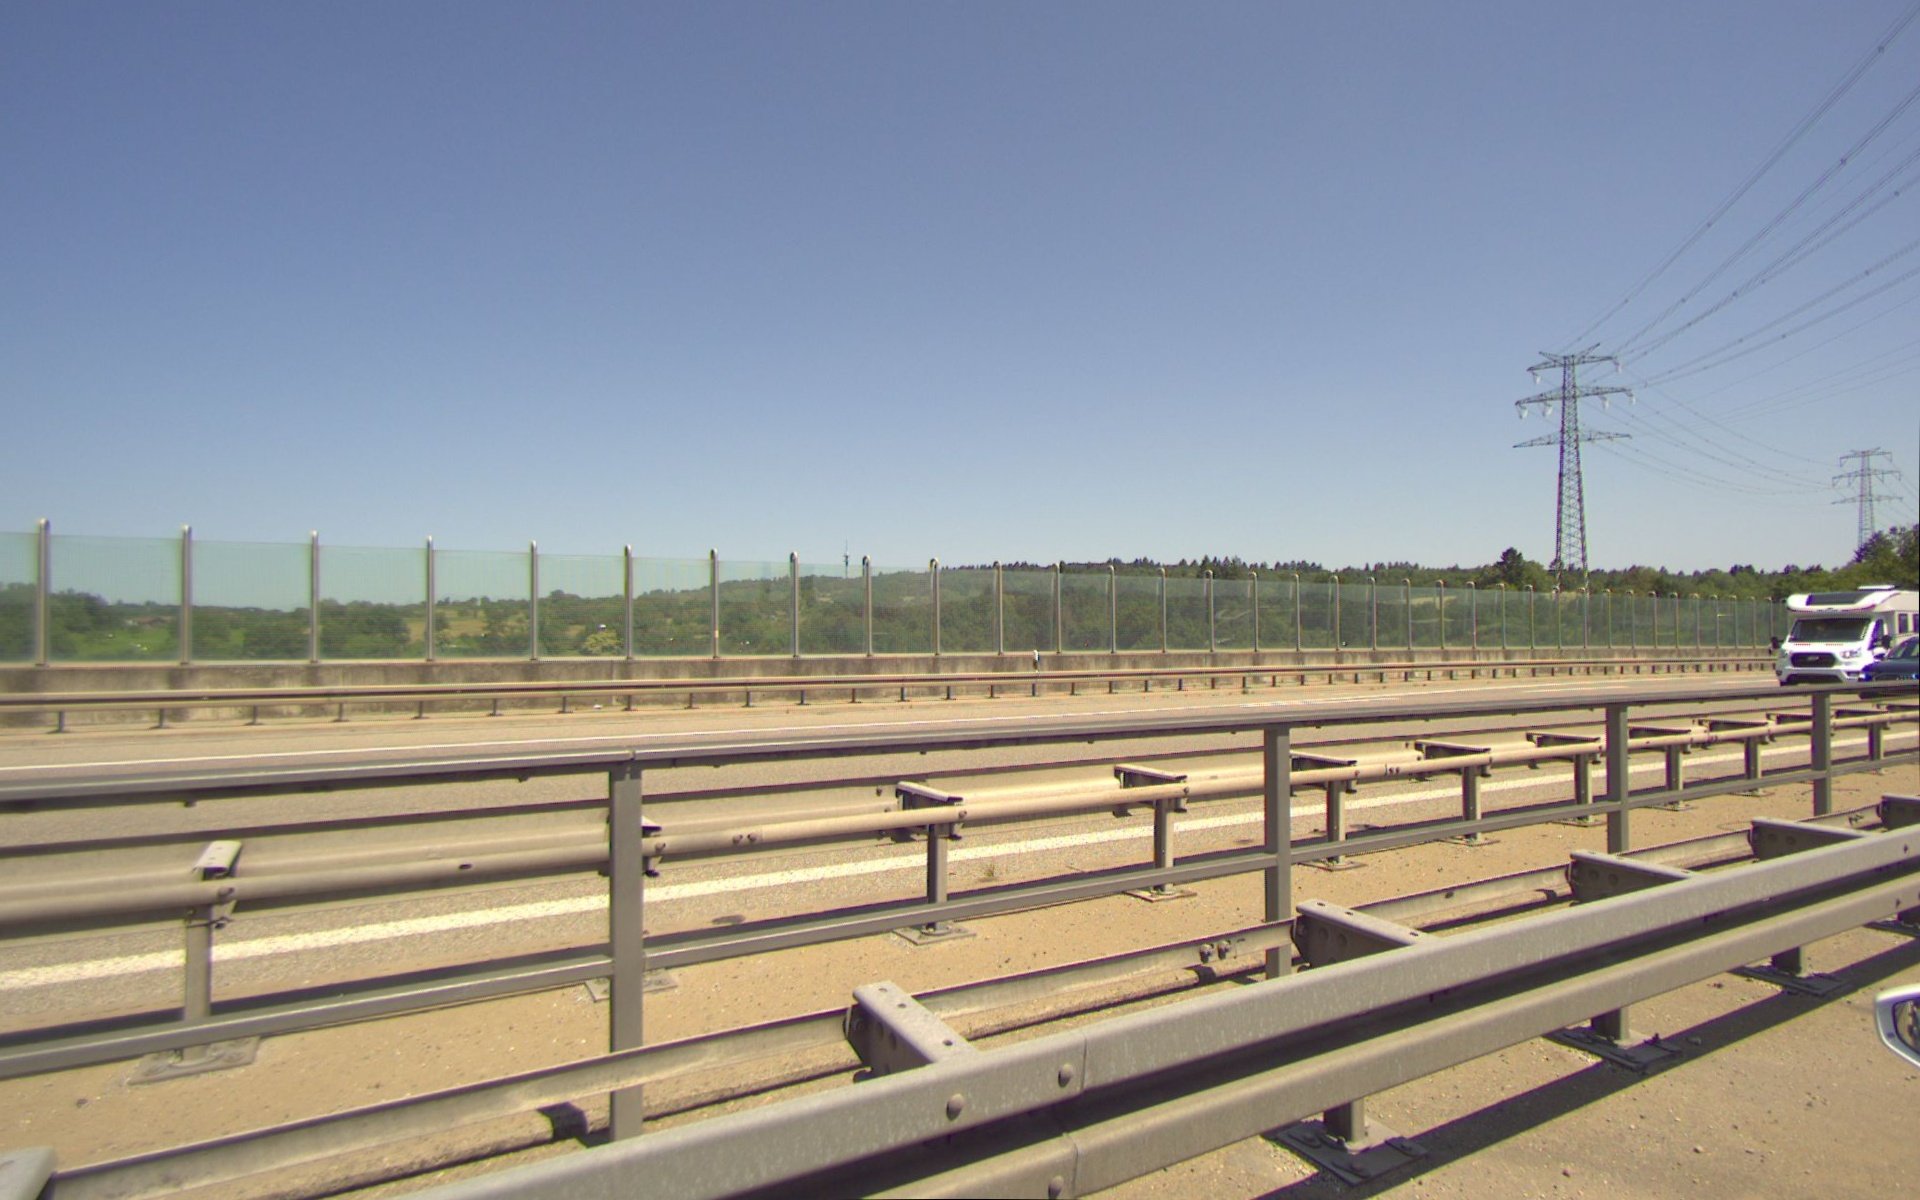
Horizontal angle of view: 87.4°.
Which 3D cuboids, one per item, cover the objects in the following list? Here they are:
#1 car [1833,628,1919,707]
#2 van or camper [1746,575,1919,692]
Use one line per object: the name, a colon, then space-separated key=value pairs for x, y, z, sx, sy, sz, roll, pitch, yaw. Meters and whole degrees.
car: x=20.613 y=1.397 z=21.257 sx=4.372 sy=1.551 sz=1.859 roll=1 pitch=-4 yaw=-30
van or camper: x=25.767 y=0.992 z=28.993 sx=6.944 sy=3.063 sz=2.412 roll=1 pitch=-3 yaw=-30
